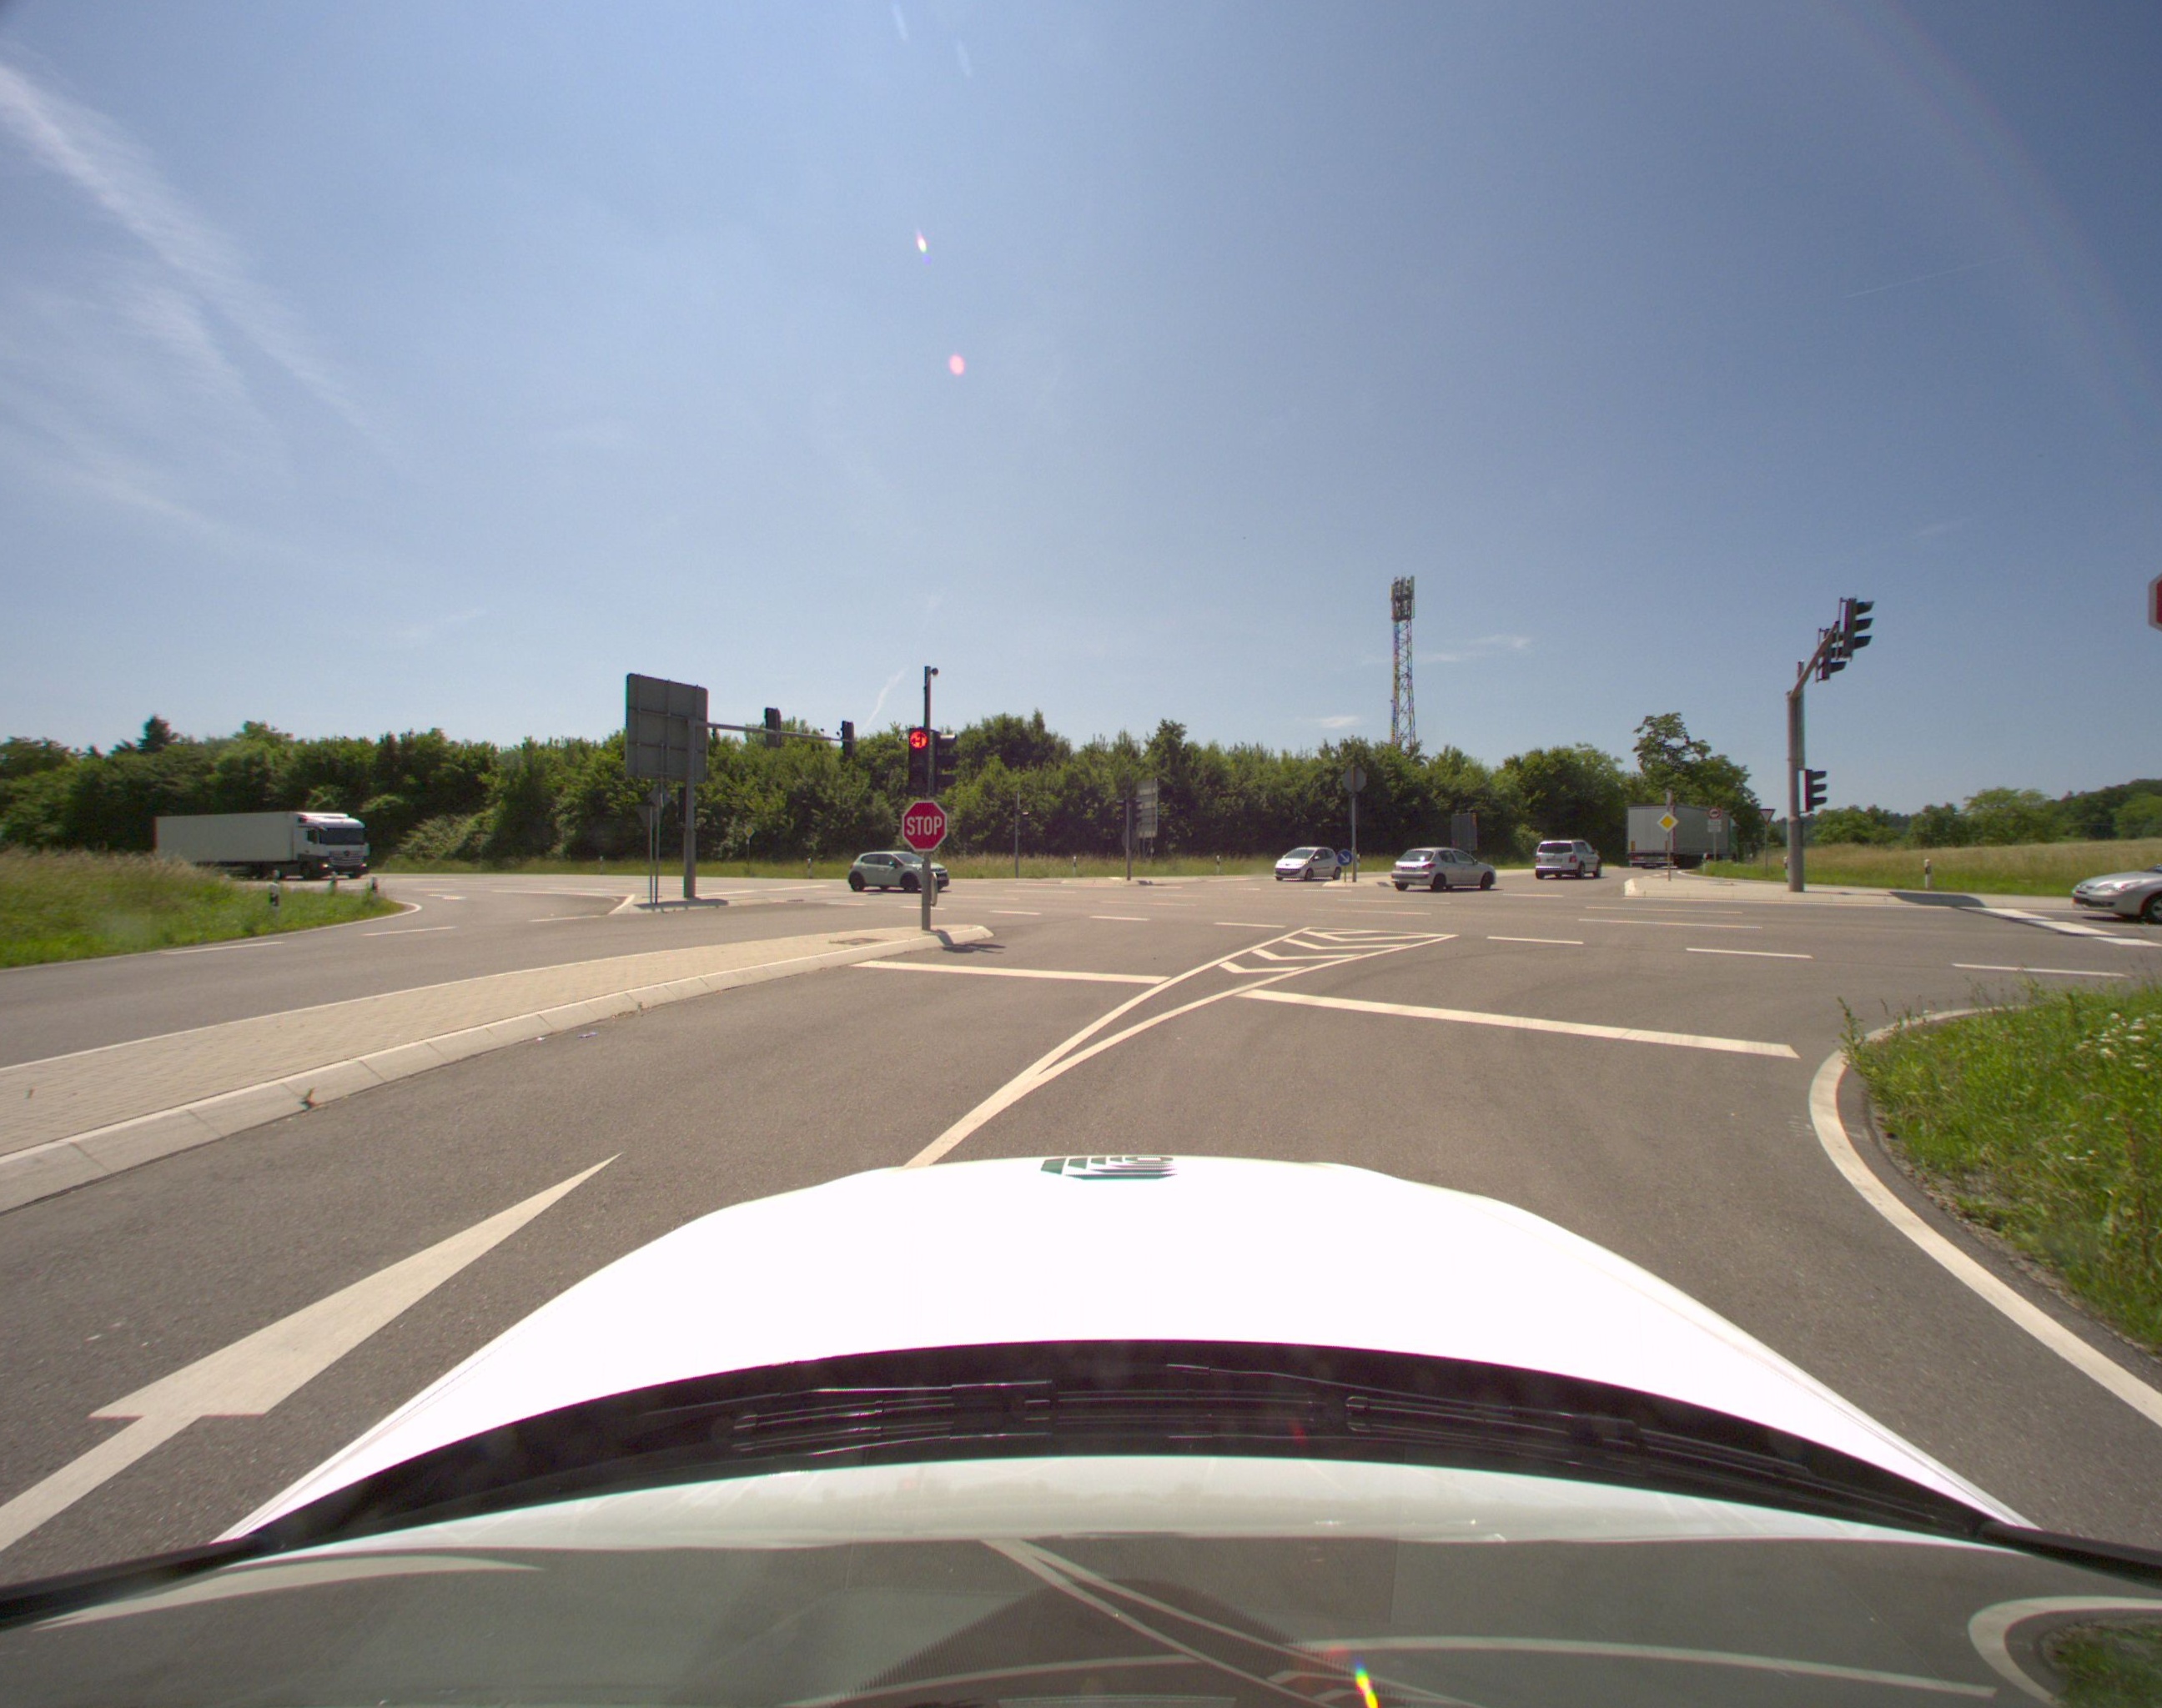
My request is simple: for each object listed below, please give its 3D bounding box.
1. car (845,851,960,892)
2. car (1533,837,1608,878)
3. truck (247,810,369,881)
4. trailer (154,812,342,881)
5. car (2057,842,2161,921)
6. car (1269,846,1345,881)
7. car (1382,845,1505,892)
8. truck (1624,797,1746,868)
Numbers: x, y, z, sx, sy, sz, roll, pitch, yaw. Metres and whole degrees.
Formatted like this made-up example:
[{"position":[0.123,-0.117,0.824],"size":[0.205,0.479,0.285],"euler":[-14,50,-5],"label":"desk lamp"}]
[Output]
[{"position":[-6.663,0.624,30.367],"size":[3.937,1.404,1.745],"euler":[0,2,27],"label":"car"},{"position":[21.177,0.117,35.172],"size":[4.083,1.625,1.796],"euler":[-2,1,-44],"label":"car"},{"position":[-46.272,-0.493,48.779],"size":[6.208,4.036,2.674],"euler":[0,1,20],"label":"truck"},{"position":[-52.130,-0.463,50.872],"size":[13.677,4.036,2.674],"euler":[0,1,20],"label":"trailer"},{"position":[22.195,0.526,15.626],"size":[4.116,1.469,1.741],"euler":[0,2,36],"label":"car"},{"position":[9.880,0.388,35.451],"size":[3.551,1.370,1.551],"euler":[-2,1,-43],"label":"car"},{"position":[12.153,0.441,27.267],"size":[3.792,1.413,1.802],"euler":[-2,1,-27],"label":"car"},{"position":[40.877,-1.319,54.678],"size":[16.775,4.172,3.098],"euler":[0,0,-41],"label":"truck"}]
